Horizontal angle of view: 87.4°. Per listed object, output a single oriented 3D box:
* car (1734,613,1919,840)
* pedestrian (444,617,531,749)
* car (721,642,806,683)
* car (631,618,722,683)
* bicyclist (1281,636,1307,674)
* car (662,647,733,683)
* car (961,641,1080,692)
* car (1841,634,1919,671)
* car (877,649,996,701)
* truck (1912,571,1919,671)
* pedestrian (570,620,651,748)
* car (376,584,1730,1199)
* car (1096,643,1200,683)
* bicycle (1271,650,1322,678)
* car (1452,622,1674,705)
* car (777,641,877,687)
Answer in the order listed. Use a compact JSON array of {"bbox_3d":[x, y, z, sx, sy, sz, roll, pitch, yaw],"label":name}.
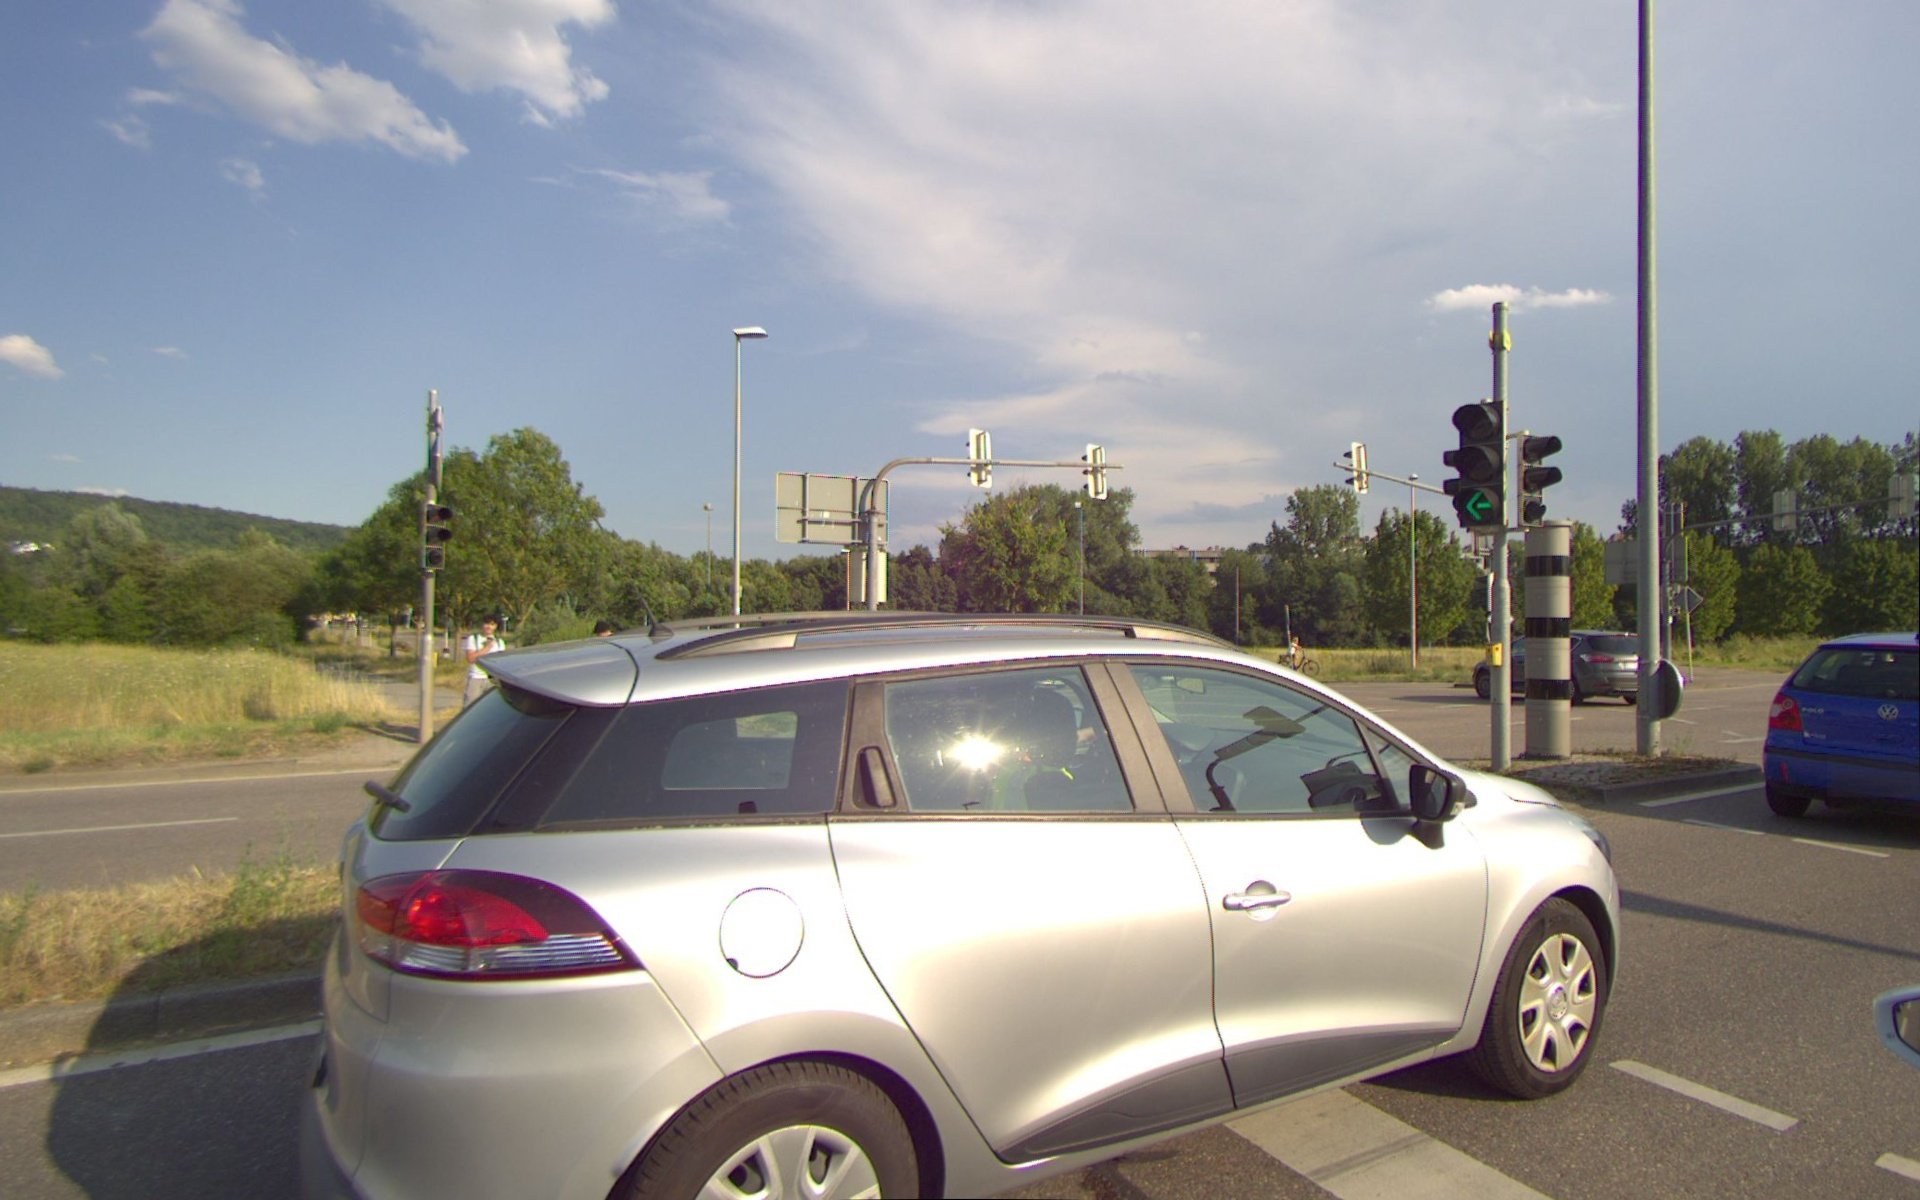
[{"bbox_3d":[7.929,0.901,7.967,3.851,1.519,1.677,2,-1,-33],"label":"car"},{"bbox_3d":[-6.044,1.047,12.888,0.822,1.628,0.656,1,0,-10],"label":"pedestrian"},{"bbox_3d":[-8.320,2.597,42.334,1.756,1.439,3.830,2,0,-43],"label":"car"},{"bbox_3d":[-7.662,1.299,26.935,1.745,1.528,3.697,2,0,-26],"label":"car"},{"bbox_3d":[13.680,2.246,41.205,0.902,1.521,0.725,2,0,13],"label":"bicyclist"},{"bbox_3d":[-12.373,3.012,47.222,1.754,1.439,3.833,2,0,-41],"label":"car"},{"bbox_3d":[2.020,2.216,34.190,1.757,1.439,3.828,2,0,-45],"label":"car"},{"bbox_3d":[37.090,2.102,40.054,3.954,1.394,1.805,2,-4,-31],"label":"car"},{"bbox_3d":[-0.792,2.359,32.269,1.626,1.378,3.828,2,0,-45],"label":"car"},{"bbox_3d":[40.992,0.839,39.056,10.377,3.738,2.919,2,-4,-31],"label":"truck"},{"bbox_3d":[-4.588,1.093,13.229,0.873,1.628,0.656,1,0,-10],"label":"pedestrian"},{"bbox_3d":[0.512,0.760,3.255,4.141,1.496,1.748,1,-1,-31],"label":"car"},{"bbox_3d":[7.027,2.347,37.862,1.751,1.386,3.713,2,-2,-35],"label":"car"},{"bbox_3d":[13.794,2.606,41.172,1.896,1.053,0.709,2,0,12],"label":"bicycle"},{"bbox_3d":[13.640,1.444,23.037,1.895,1.712,4.142,2,-3,-18],"label":"car"},{"bbox_3d":[-5.016,2.354,37.537,1.757,1.439,3.828,2,0,-45],"label":"car"}]
